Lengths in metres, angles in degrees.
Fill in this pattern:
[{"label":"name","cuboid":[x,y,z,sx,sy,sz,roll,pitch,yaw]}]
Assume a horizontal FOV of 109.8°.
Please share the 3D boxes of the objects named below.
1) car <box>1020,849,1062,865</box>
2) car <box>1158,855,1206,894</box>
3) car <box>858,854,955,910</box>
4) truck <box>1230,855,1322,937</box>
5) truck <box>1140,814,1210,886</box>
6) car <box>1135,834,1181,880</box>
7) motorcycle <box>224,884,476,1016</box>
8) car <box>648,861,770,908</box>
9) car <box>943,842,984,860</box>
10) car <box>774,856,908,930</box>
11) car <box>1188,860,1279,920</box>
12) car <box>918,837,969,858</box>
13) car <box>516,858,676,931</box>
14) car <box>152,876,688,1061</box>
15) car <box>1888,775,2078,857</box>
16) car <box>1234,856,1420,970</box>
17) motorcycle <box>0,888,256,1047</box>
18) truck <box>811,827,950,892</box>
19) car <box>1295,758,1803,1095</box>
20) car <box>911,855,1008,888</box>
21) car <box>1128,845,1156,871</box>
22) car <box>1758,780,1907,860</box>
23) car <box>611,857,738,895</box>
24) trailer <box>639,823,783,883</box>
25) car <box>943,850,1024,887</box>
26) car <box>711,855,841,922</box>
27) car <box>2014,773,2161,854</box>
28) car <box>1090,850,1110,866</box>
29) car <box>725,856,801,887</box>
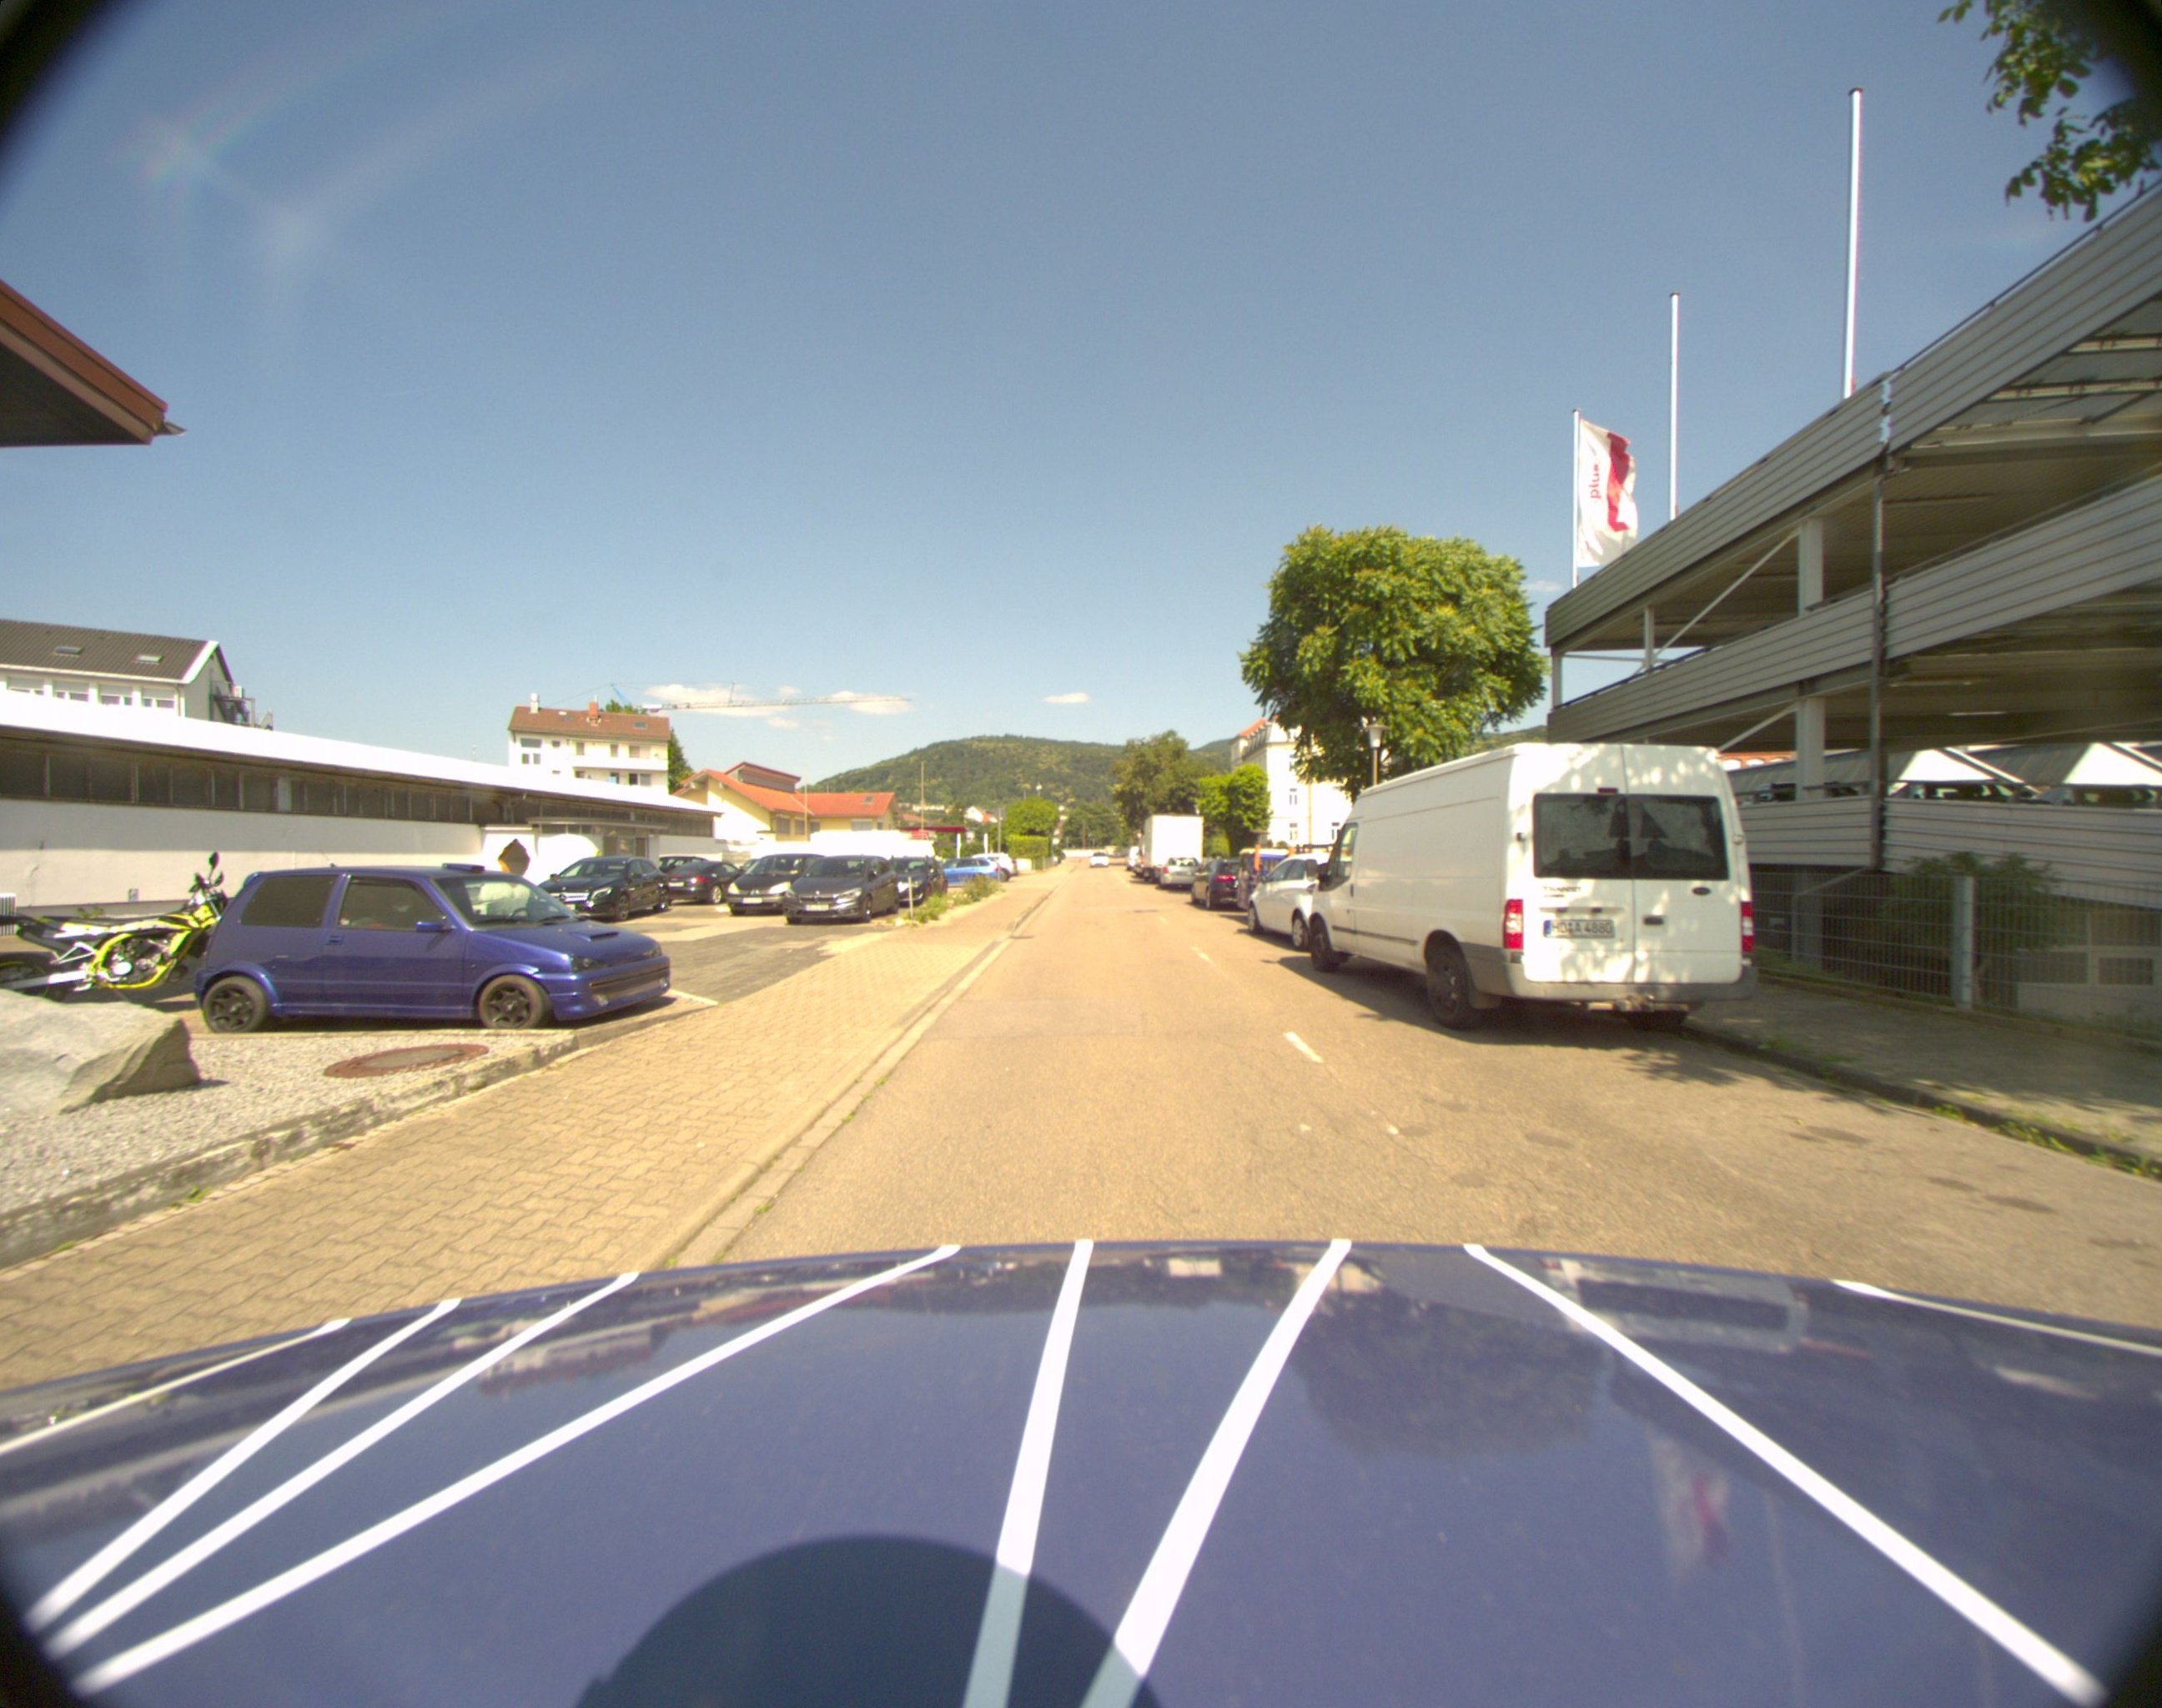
[{"label":"car","cuboid":[-4.215,0.350,81.040,4.414,1.518,1.897,2,-1,-1]},{"label":"car","cuboid":[4.294,0.825,32.787,1.745,1.512,4.311,1,0,4]},{"label":"car","cuboid":[-5.296,0.796,23.784,1.863,1.558,4.951,0,0,0]},{"label":"truck","cuboid":[4.265,0.858,16.966,1.141,1.613,3.140,2,0,-1]},{"label":"truck","cuboid":[4.676,-0.234,39.146,2.692,3.347,7.128,0,1,0]},{"label":"car","cuboid":[4.637,0.126,46.861,2.173,2.581,6.919,1,1,1]},{"label":"motorcycle","cuboid":[-7.722,0.990,8.096,1.874,1.272,0.796,1,1,-2]},{"label":"car","cuboid":[-11.700,0.902,24.216,1.645,1.317,4.101,0,0,4]},{"label":"car","cuboid":[-14.435,-0.349,93.525,4.566,2.138,1.928,1,1,19]},{"label":"car","cuboid":[-5.590,0.838,18.287,1.816,1.549,4.292,0,0,0]},{"label":"car","cuboid":[4.225,0.933,21.648,1.709,1.454,4.113,1,1,-1]},{"label":"car","cuboid":[-17.438,-0.847,96.342,6.025,2.663,2.255,0,1,-22]},{"label":"car","cuboid":[-11.465,0.887,18.330,1.766,1.487,4.145,1,0,-10]},{"label":"car","cuboid":[-5.525,0.897,6.674,3.261,1.390,1.674,0,-1,1]},{"label":"car","cuboid":[20.743,-0.877,17.700,1.812,1.662,4.007,1,3,35]},{"label":"car","cuboid":[4.097,0.901,13.393,1.709,1.615,3.972,2,0,-4]},{"label":"motorcycle","cuboid":[-8.831,0.969,6.825,1.758,1.272,0.794,1,1,-30]},{"label":"truck","cuboid":[-12.012,0.297,46.002,7.536,3.403,2.527,-3,1,1]},{"label":"car","cuboid":[4.050,0.514,8.000,2.010,2.352,5.228,1,0,-1]},{"label":"car","cuboid":[-5.882,0.855,37.172,4.363,1.433,1.892,-2,0,0]},{"label":"car","cuboid":[4.971,0.309,62.751,1.976,2.002,5.055,1,1,1]},{"label":"car","cuboid":[17.729,-0.811,18.145,1.812,1.662,4.007,1,3,35]},{"label":"car","cuboid":[-15.529,0.776,29.313,1.711,1.317,4.193,0,0,22]},{"label":"trailer","cuboid":[-24.880,-0.073,51.326,8.350,3.841,3.068,0,1,6]},{"label":"car","cuboid":[-5.459,0.804,43.008,4.211,1.672,1.766,-4,1,0]},{"label":"car","cuboid":[-8.041,0.843,20.412,1.763,1.585,3.620,-2,0,4]},{"label":"car","cuboid":[23.502,-0.929,17.270,1.812,1.662,4.007,1,3,35]},{"label":"car","cuboid":[1.900,0.368,76.283,1.896,1.412,4.169,2,2,1]},{"label":"car","cuboid":[-15.997,0.858,38.466,1.890,1.384,4.028,1,1,5]}]
